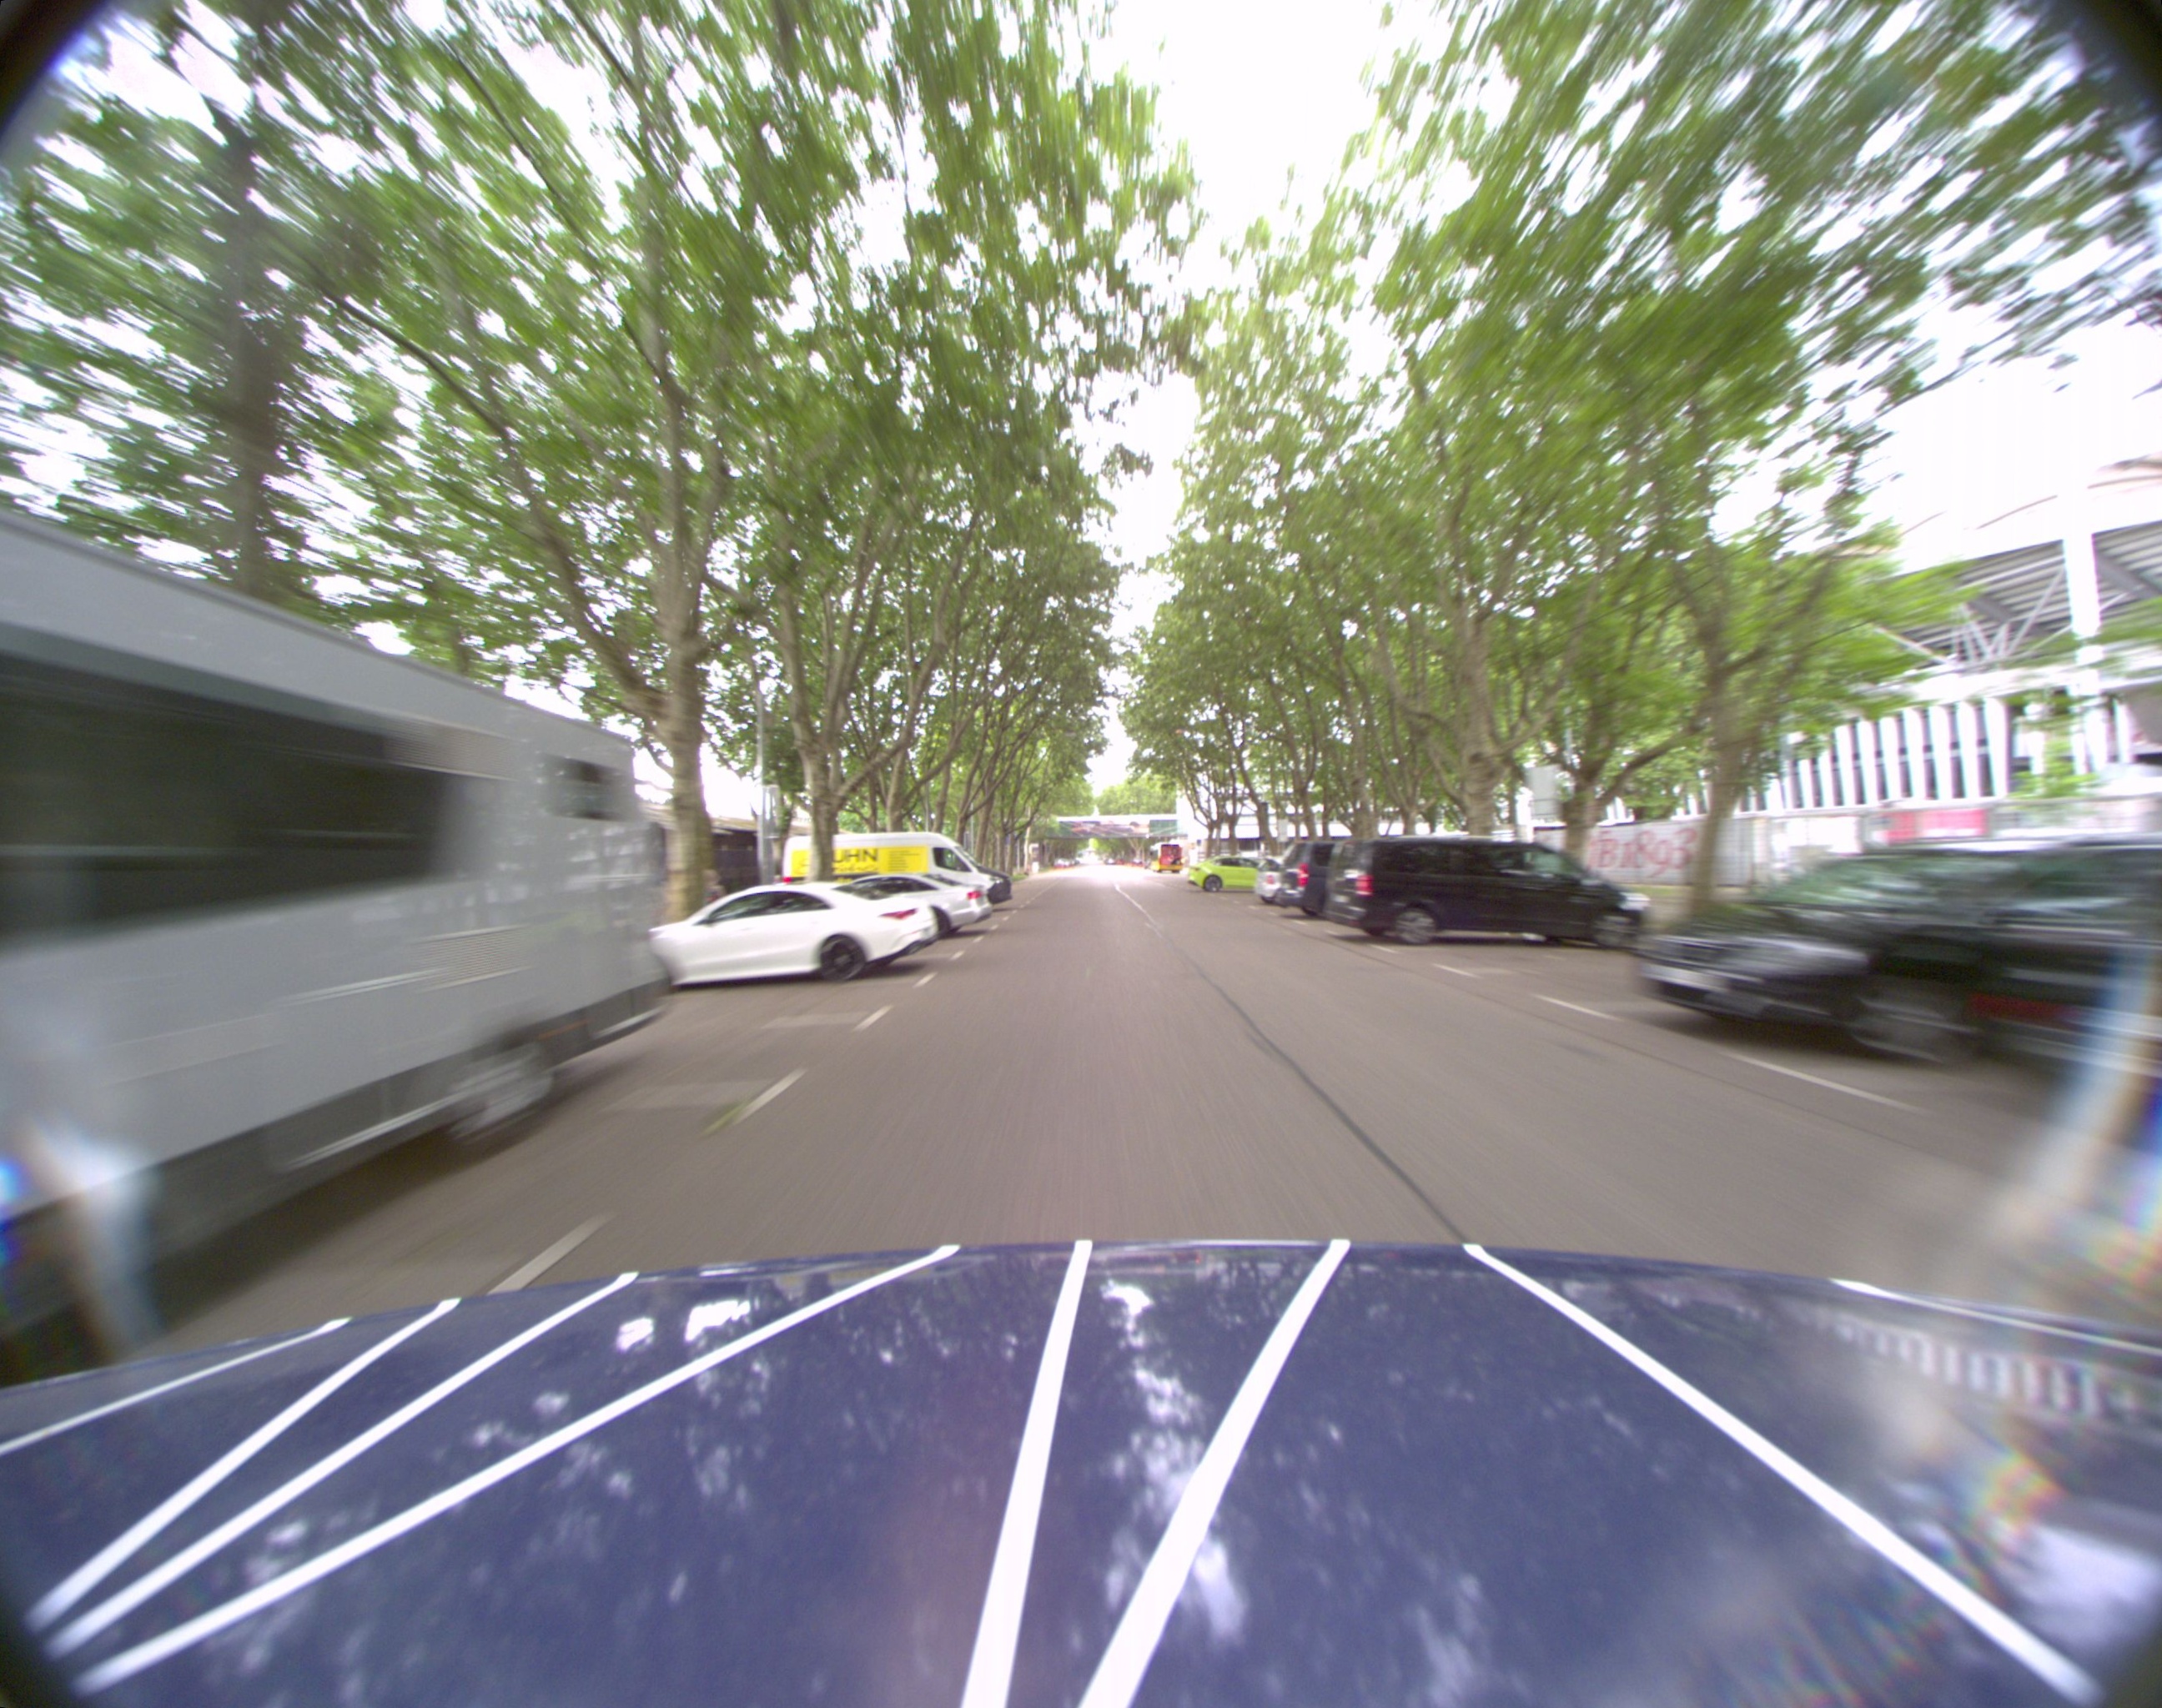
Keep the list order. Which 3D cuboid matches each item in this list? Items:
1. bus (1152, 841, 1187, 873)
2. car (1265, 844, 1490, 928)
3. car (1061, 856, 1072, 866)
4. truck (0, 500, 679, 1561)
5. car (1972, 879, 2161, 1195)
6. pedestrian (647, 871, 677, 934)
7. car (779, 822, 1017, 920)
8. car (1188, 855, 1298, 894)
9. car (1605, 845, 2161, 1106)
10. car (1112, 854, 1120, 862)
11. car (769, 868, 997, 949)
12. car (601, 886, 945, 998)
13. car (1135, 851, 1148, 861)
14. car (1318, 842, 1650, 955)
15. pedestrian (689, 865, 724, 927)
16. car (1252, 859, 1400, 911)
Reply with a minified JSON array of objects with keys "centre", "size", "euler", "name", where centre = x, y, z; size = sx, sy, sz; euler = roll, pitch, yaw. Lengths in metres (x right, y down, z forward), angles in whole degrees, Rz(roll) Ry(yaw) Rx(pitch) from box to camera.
[{"centre":[9.506,0.304,82.645],"size":[2.658,3.136,12.370],"euler":[2,0,2],"name":"bus"},{"centre":[7.216,0.756,18.860],"size":[4.774,1.913,2.017],"euler":[1,0,-1],"name":"car"},{"centre":[-2.561,1.174,134.426],"size":[1.757,1.687,4.497],"euler":[-1,0,-1],"name":"car"},{"centre":[-4.341,0.510,2.838],"size":[2.466,2.920,7.533],"euler":[-2,0,-8],"name":"truck"},{"centre":[7.138,0.914,3.559],"size":[3.907,1.485,1.753],"euler":[1,0,-1],"name":"car"},{"centre":[-10.976,1.260,19.917],"size":[0.519,1.635,0.430],"euler":[1,0,3],"name":"pedestrian"},{"centre":[-5.563,0.507,23.926],"size":[6.900,2.679,2.127],"euler":[-2,0,-3],"name":"car"},{"centre":[7.135,0.897,33.717],"size":[4.527,1.608,1.758],"euler":[-1,0,3],"name":"car"},{"centre":[7.190,0.867,6.156],"size":[4.590,1.771,1.798],"euler":[1,-1,2],"name":"car"},{"centre":[8.213,0.936,178.236],"size":[1.757,1.652,4.000],"euler":[-2,0,1],"name":"car"},{"centre":[-4.079,1.115,16.152],"size":[4.371,1.437,1.612],"euler":[-2,0,-1],"name":"car"},{"centre":[-4.359,1.243,11.211],"size":[4.330,1.294,1.700],"euler":[-2,0,1],"name":"car"},{"centre":[10.977,0.341,137.613],"size":[1.929,1.720,4.233],"euler":[2,0,0],"name":"car"},{"centre":[7.147,0.755,13.949],"size":[4.917,1.913,2.208],"euler":[0,0,1],"name":"car"},{"centre":[-10.641,1.182,21.598],"size":[0.641,1.730,0.621],"euler":[1,0,4],"name":"pedestrian"},{"centre":[7.710,0.954,24.145],"size":[4.117,1.559,1.757],"euler":[1,0,-4],"name":"car"}]
